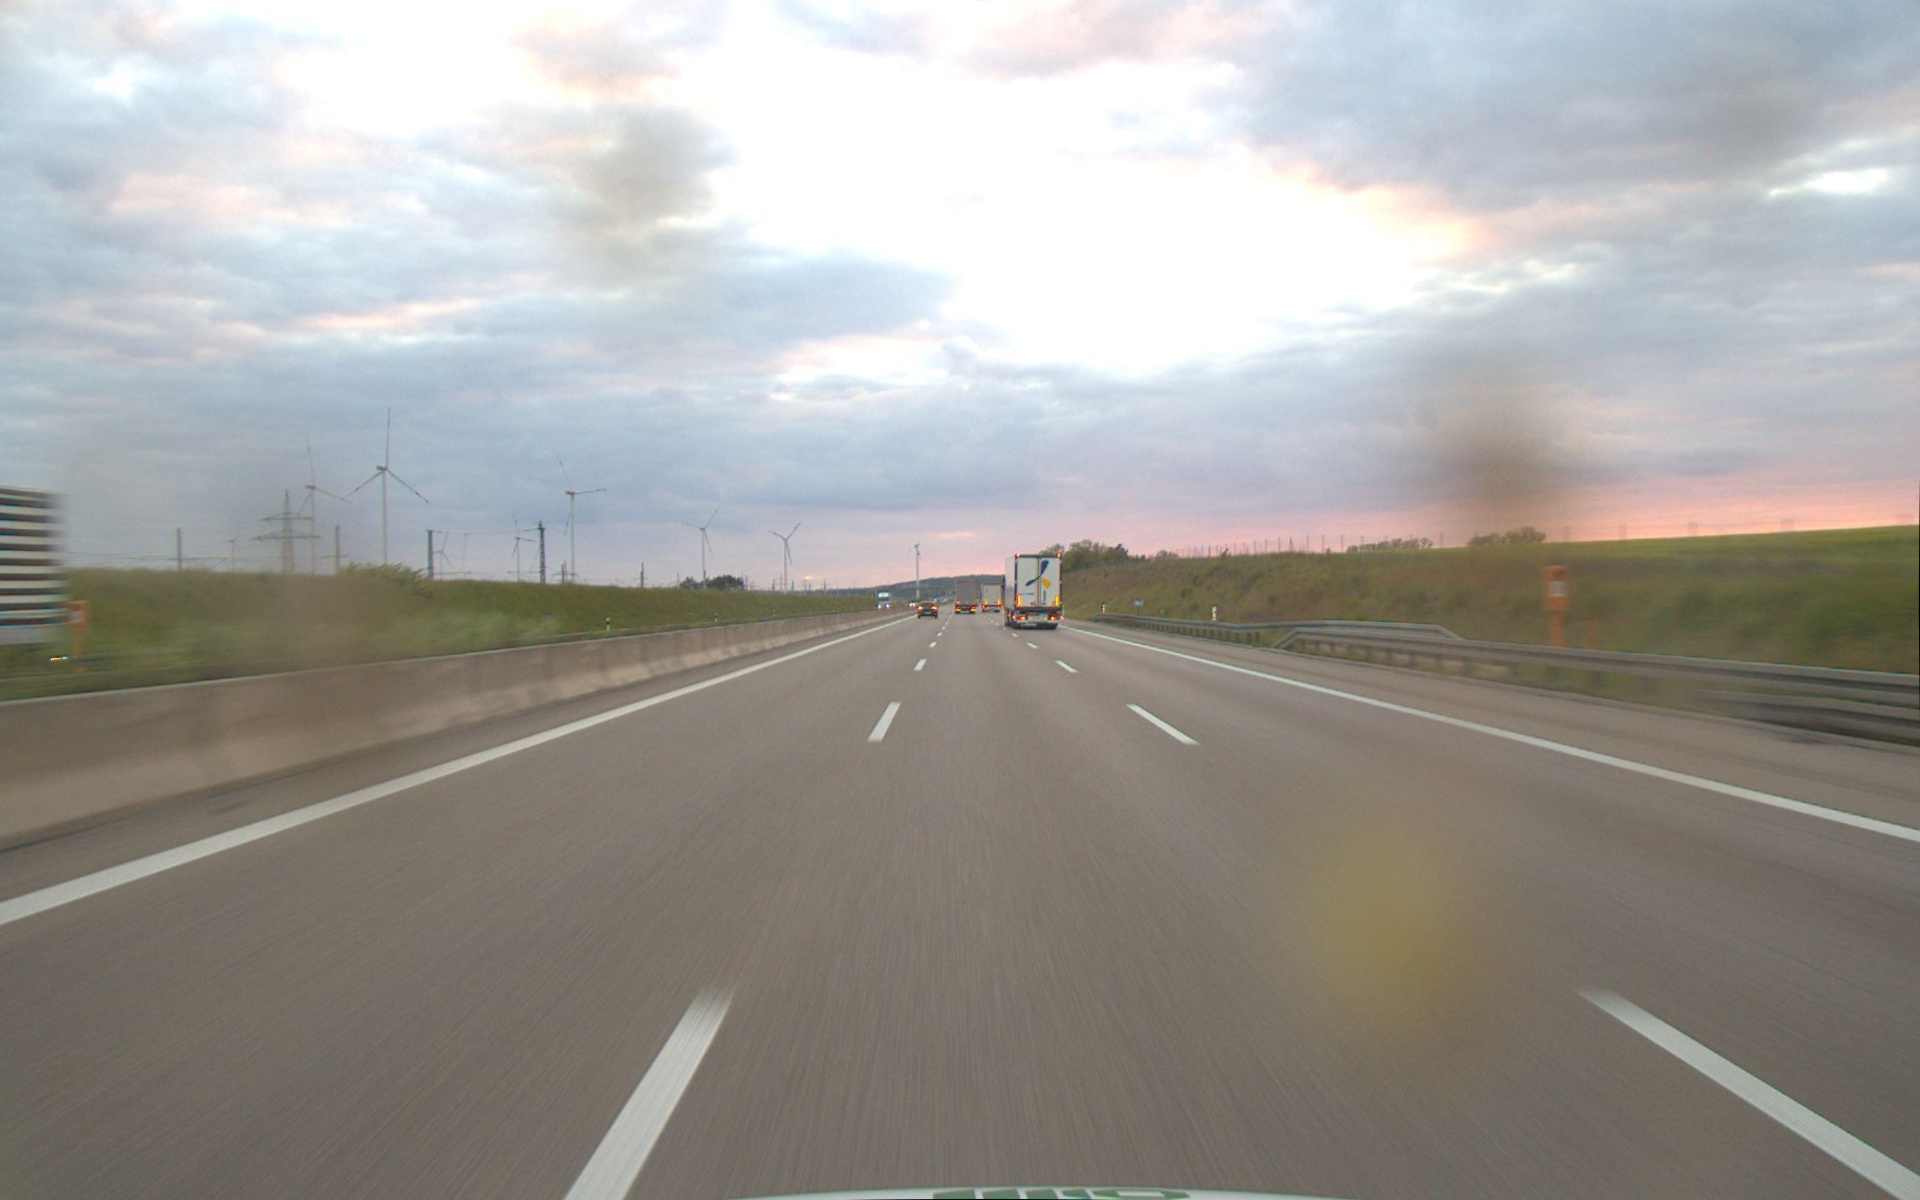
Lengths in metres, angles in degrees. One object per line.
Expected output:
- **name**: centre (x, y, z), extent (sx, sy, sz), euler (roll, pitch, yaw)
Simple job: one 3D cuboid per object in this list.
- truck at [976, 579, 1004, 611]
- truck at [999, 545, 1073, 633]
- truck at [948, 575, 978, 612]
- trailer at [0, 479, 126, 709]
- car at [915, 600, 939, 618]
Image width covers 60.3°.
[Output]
- **truck**: centre (4.296, -0.740, 239.311), extent (3.884, 4.491, 8.636), euler (0, 0, 0)
- **truck**: centre (4.217, -0.634, 94.321), extent (3.600, 4.644, 10.980), euler (-1, 0, 0)
- **truck**: centre (0.302, -0.789, 204.615), extent (3.573, 4.491, 8.634), euler (0, 0, -1)
- **trailer**: centre (-18.731, -0.060, 26.791), extent (2.632, 4.186, 15.108), euler (-3, 0, 0)
- **car**: centre (-2.865, 0.785, 144.210), extent (1.947, 1.454, 4.000), euler (-1, 1, 1)
